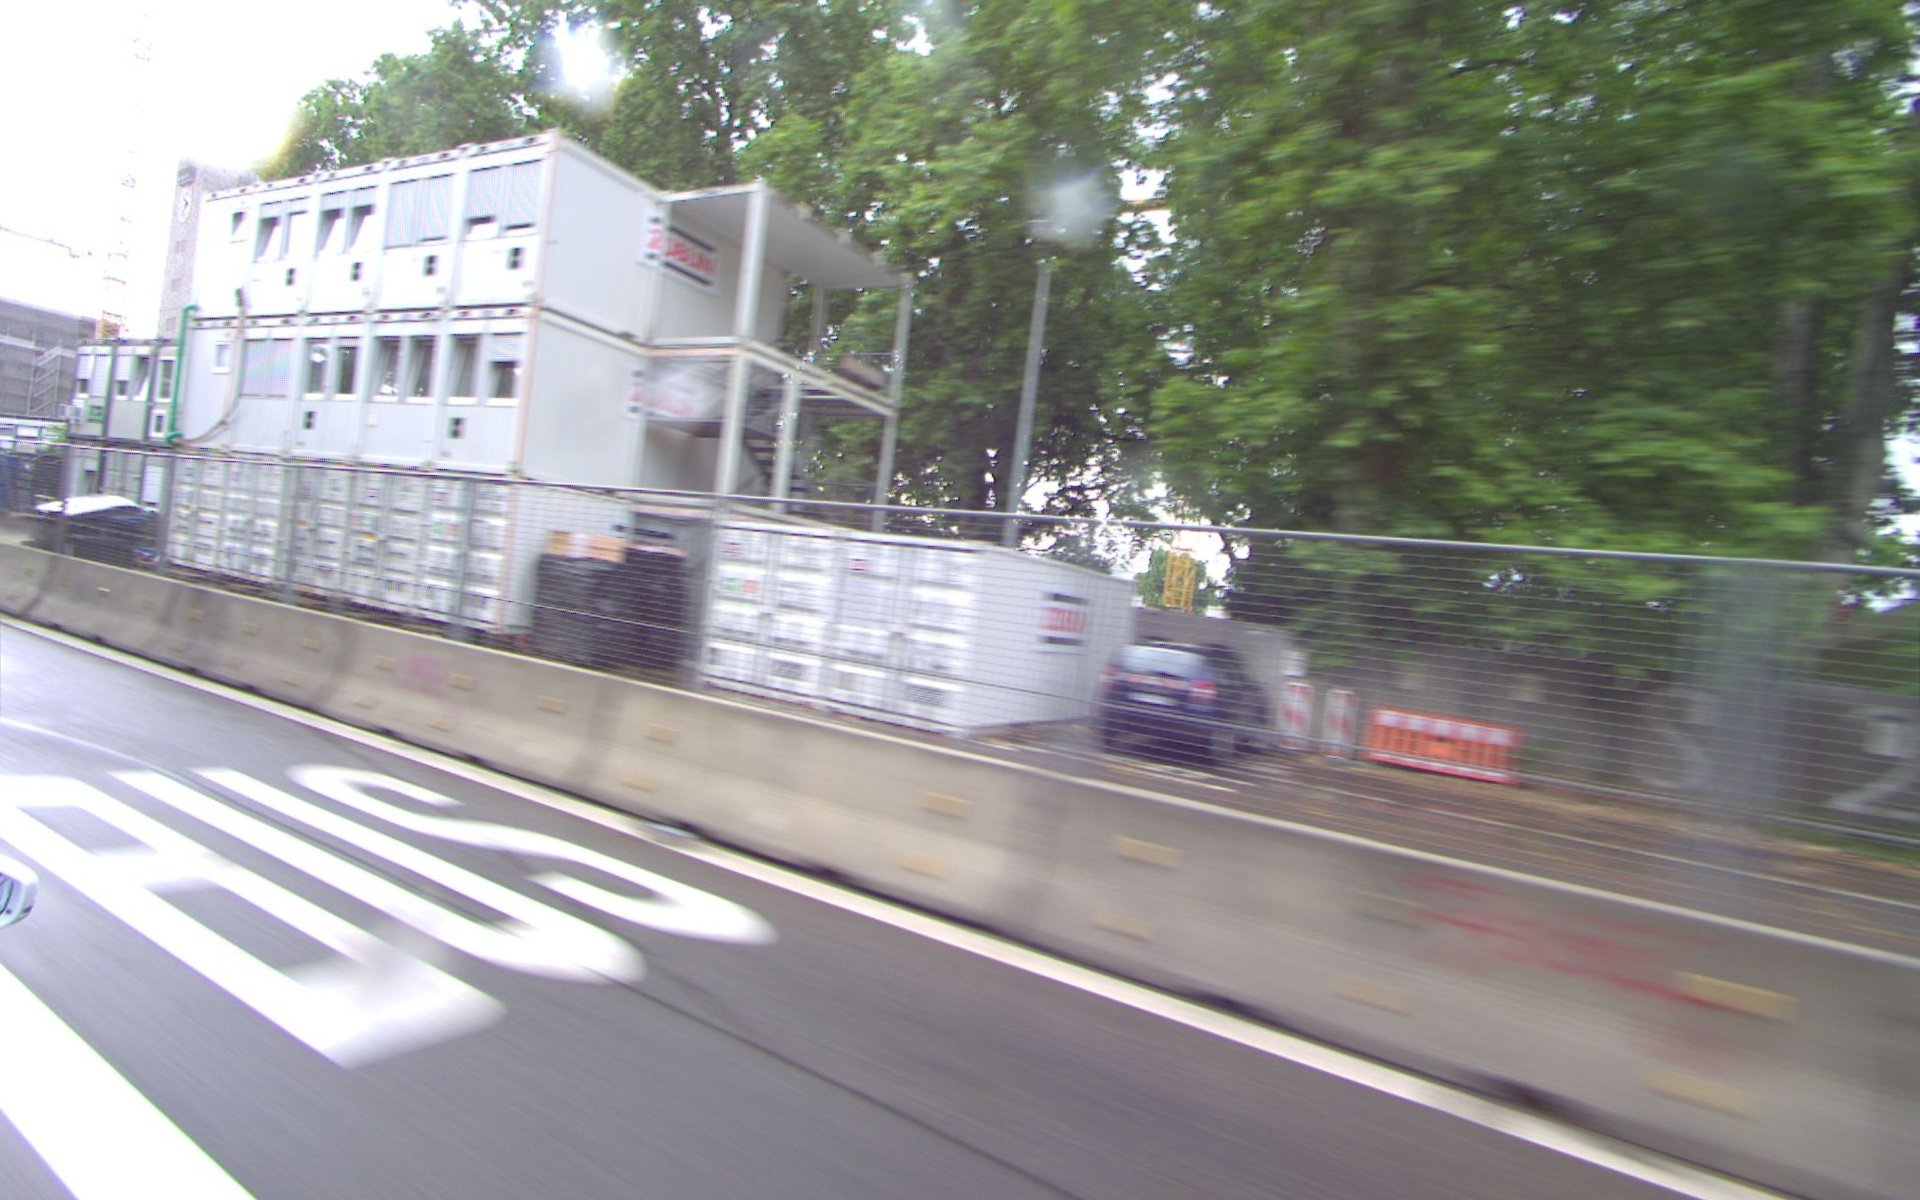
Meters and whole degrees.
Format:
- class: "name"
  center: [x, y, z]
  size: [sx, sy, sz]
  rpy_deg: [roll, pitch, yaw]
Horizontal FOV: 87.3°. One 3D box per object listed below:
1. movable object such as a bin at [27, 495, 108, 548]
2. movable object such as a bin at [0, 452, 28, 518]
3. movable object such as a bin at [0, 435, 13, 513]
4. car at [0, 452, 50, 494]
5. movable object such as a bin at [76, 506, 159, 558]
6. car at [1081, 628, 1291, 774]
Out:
- class: "movable object such as a bin"
  center: [-23.977, -2.096, 27.035]
  size: [1.218, 1.253, 1.248]
  rpy_deg: [5, 1, 30]
- class: "movable object such as a bin"
  center: [-34.464, -4.178, 35.627]
  size: [1.241, 2.230, 1.461]
  rpy_deg: [9, 1, 7]
- class: "movable object such as a bin"
  center: [-37.657, -5.010, 37.602]
  size: [3.797, 2.844, 1.811]
  rpy_deg: [9, 1, 25]
- class: "car"
  center: [-62.344, -8.425, 65.743]
  size: [5.504, 2.344, 2.049]
  rpy_deg: [8, 2, 24]
- class: "movable object such as a bin"
  center: [-21.517, -1.727, 25.695]
  size: [1.218, 1.137, 1.248]
  rpy_deg: [5, 1, 30]
- class: "car"
  center: [3.604, 1.467, 15.325]
  size: [1.757, 1.649, 4.552]
  rpy_deg: [8, 0, 29]
